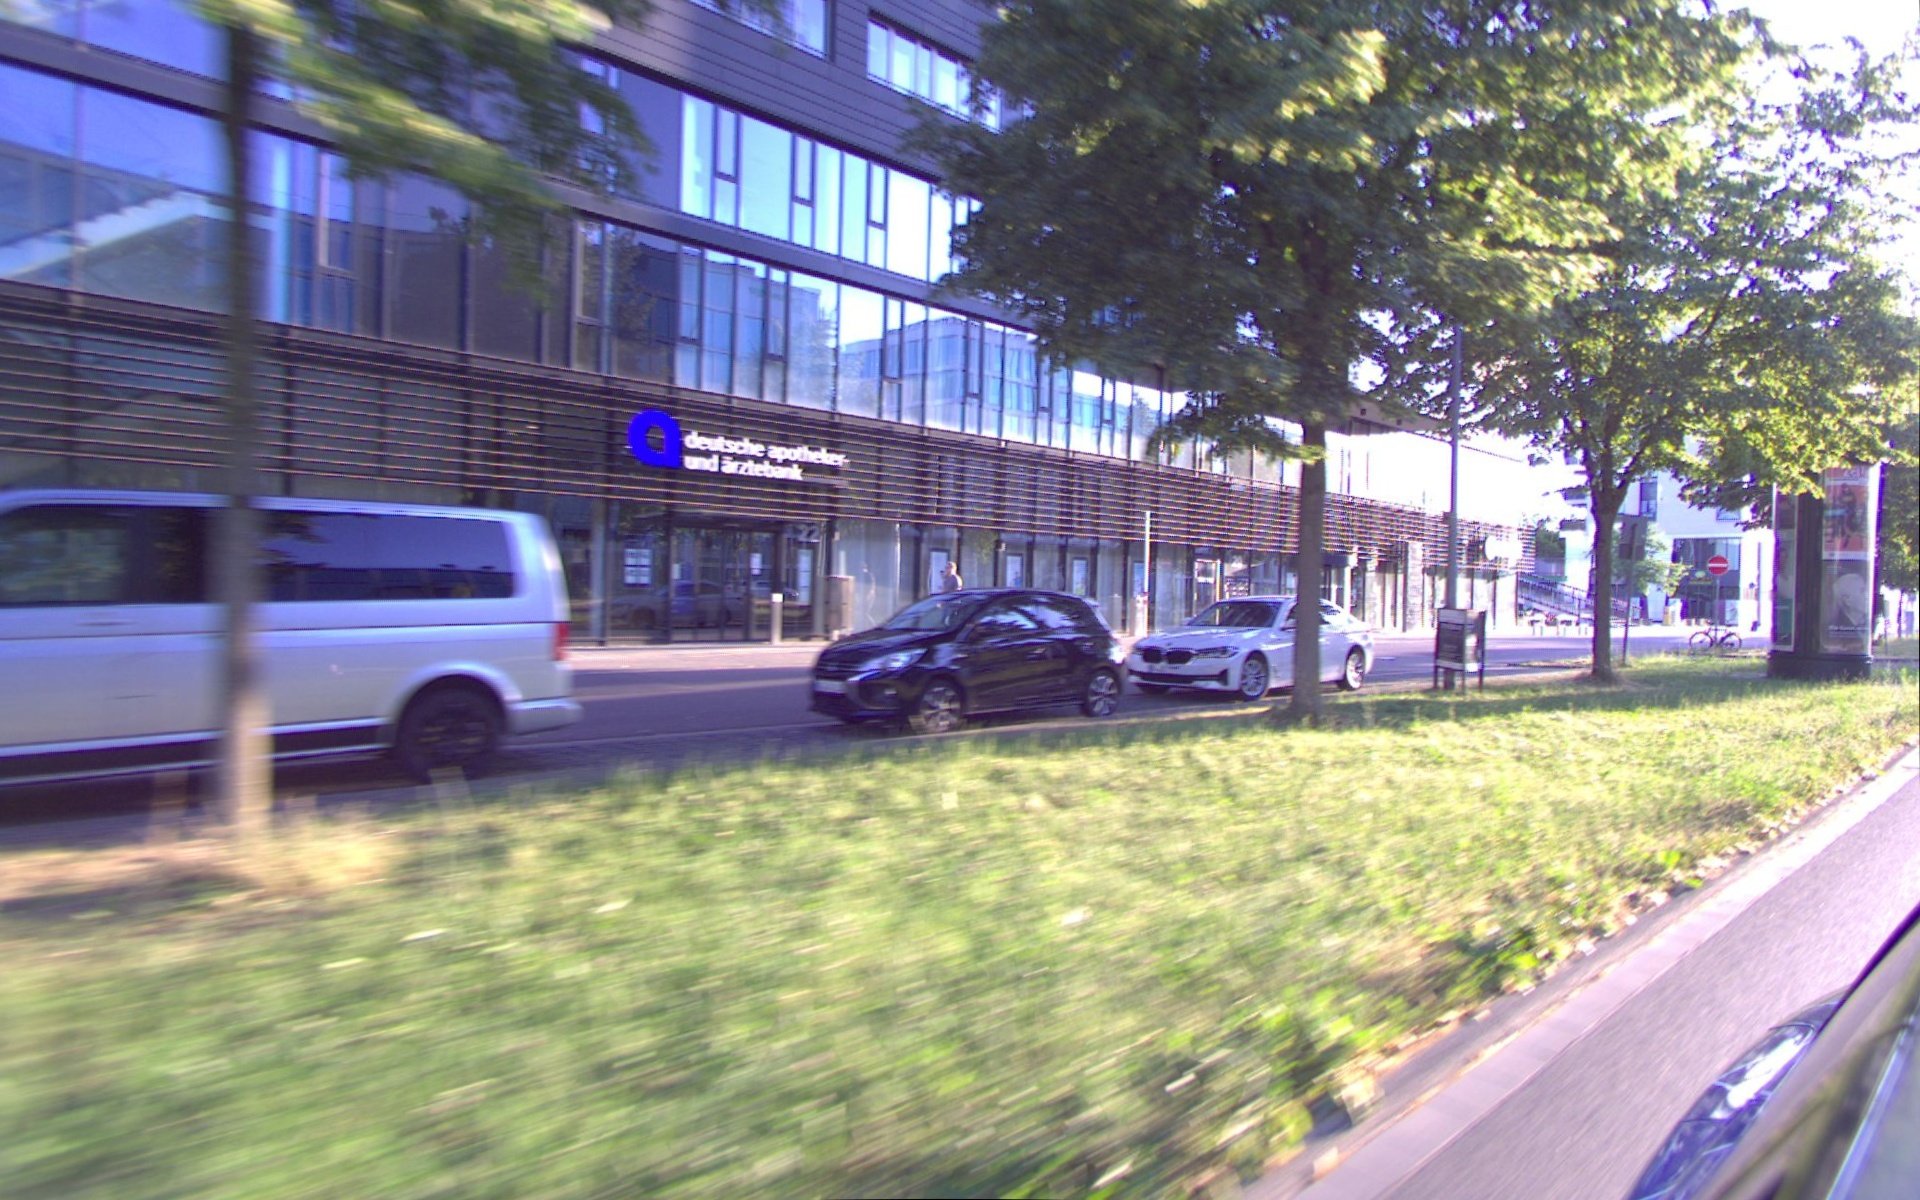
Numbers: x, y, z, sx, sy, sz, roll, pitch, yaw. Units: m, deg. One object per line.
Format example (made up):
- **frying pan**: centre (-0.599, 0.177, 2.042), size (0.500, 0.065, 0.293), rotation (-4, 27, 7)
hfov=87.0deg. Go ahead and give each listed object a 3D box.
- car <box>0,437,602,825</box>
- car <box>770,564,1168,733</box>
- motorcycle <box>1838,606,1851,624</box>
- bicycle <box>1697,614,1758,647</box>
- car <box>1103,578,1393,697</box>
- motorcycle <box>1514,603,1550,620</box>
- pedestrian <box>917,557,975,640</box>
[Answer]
- **car**: centre (-5.068, 0.175, 6.515), size (4.846, 2.014, 1.989), rotation (0, -1, -41)
- **car**: centre (0.232, 0.443, 11.142), size (4.214, 1.515, 1.863), rotation (0, -1, -40)
- **motorcycle**: centre (87.894, 1.523, 100.594), size (2.086, 1.720, 0.689), rotation (1, 0, -42)
- **bicycle**: centre (23.485, 0.914, 30.999), size (0.355, 0.922, 1.726), rotation (2, 1, -8)
- **car**: centre (4.484, 0.517, 15.271), size (4.955, 1.516, 1.919), rotation (1, -1, -43)
- **motorcycle**: centre (36.749, 0.731, 64.983), size (2.637, 1.056, 0.734), rotation (1, 0, -30)
- **pedestrian**: centre (-0.324, -0.042, 22.747), size (0.897, 1.819, 0.898), rotation (1, 1, -42)
